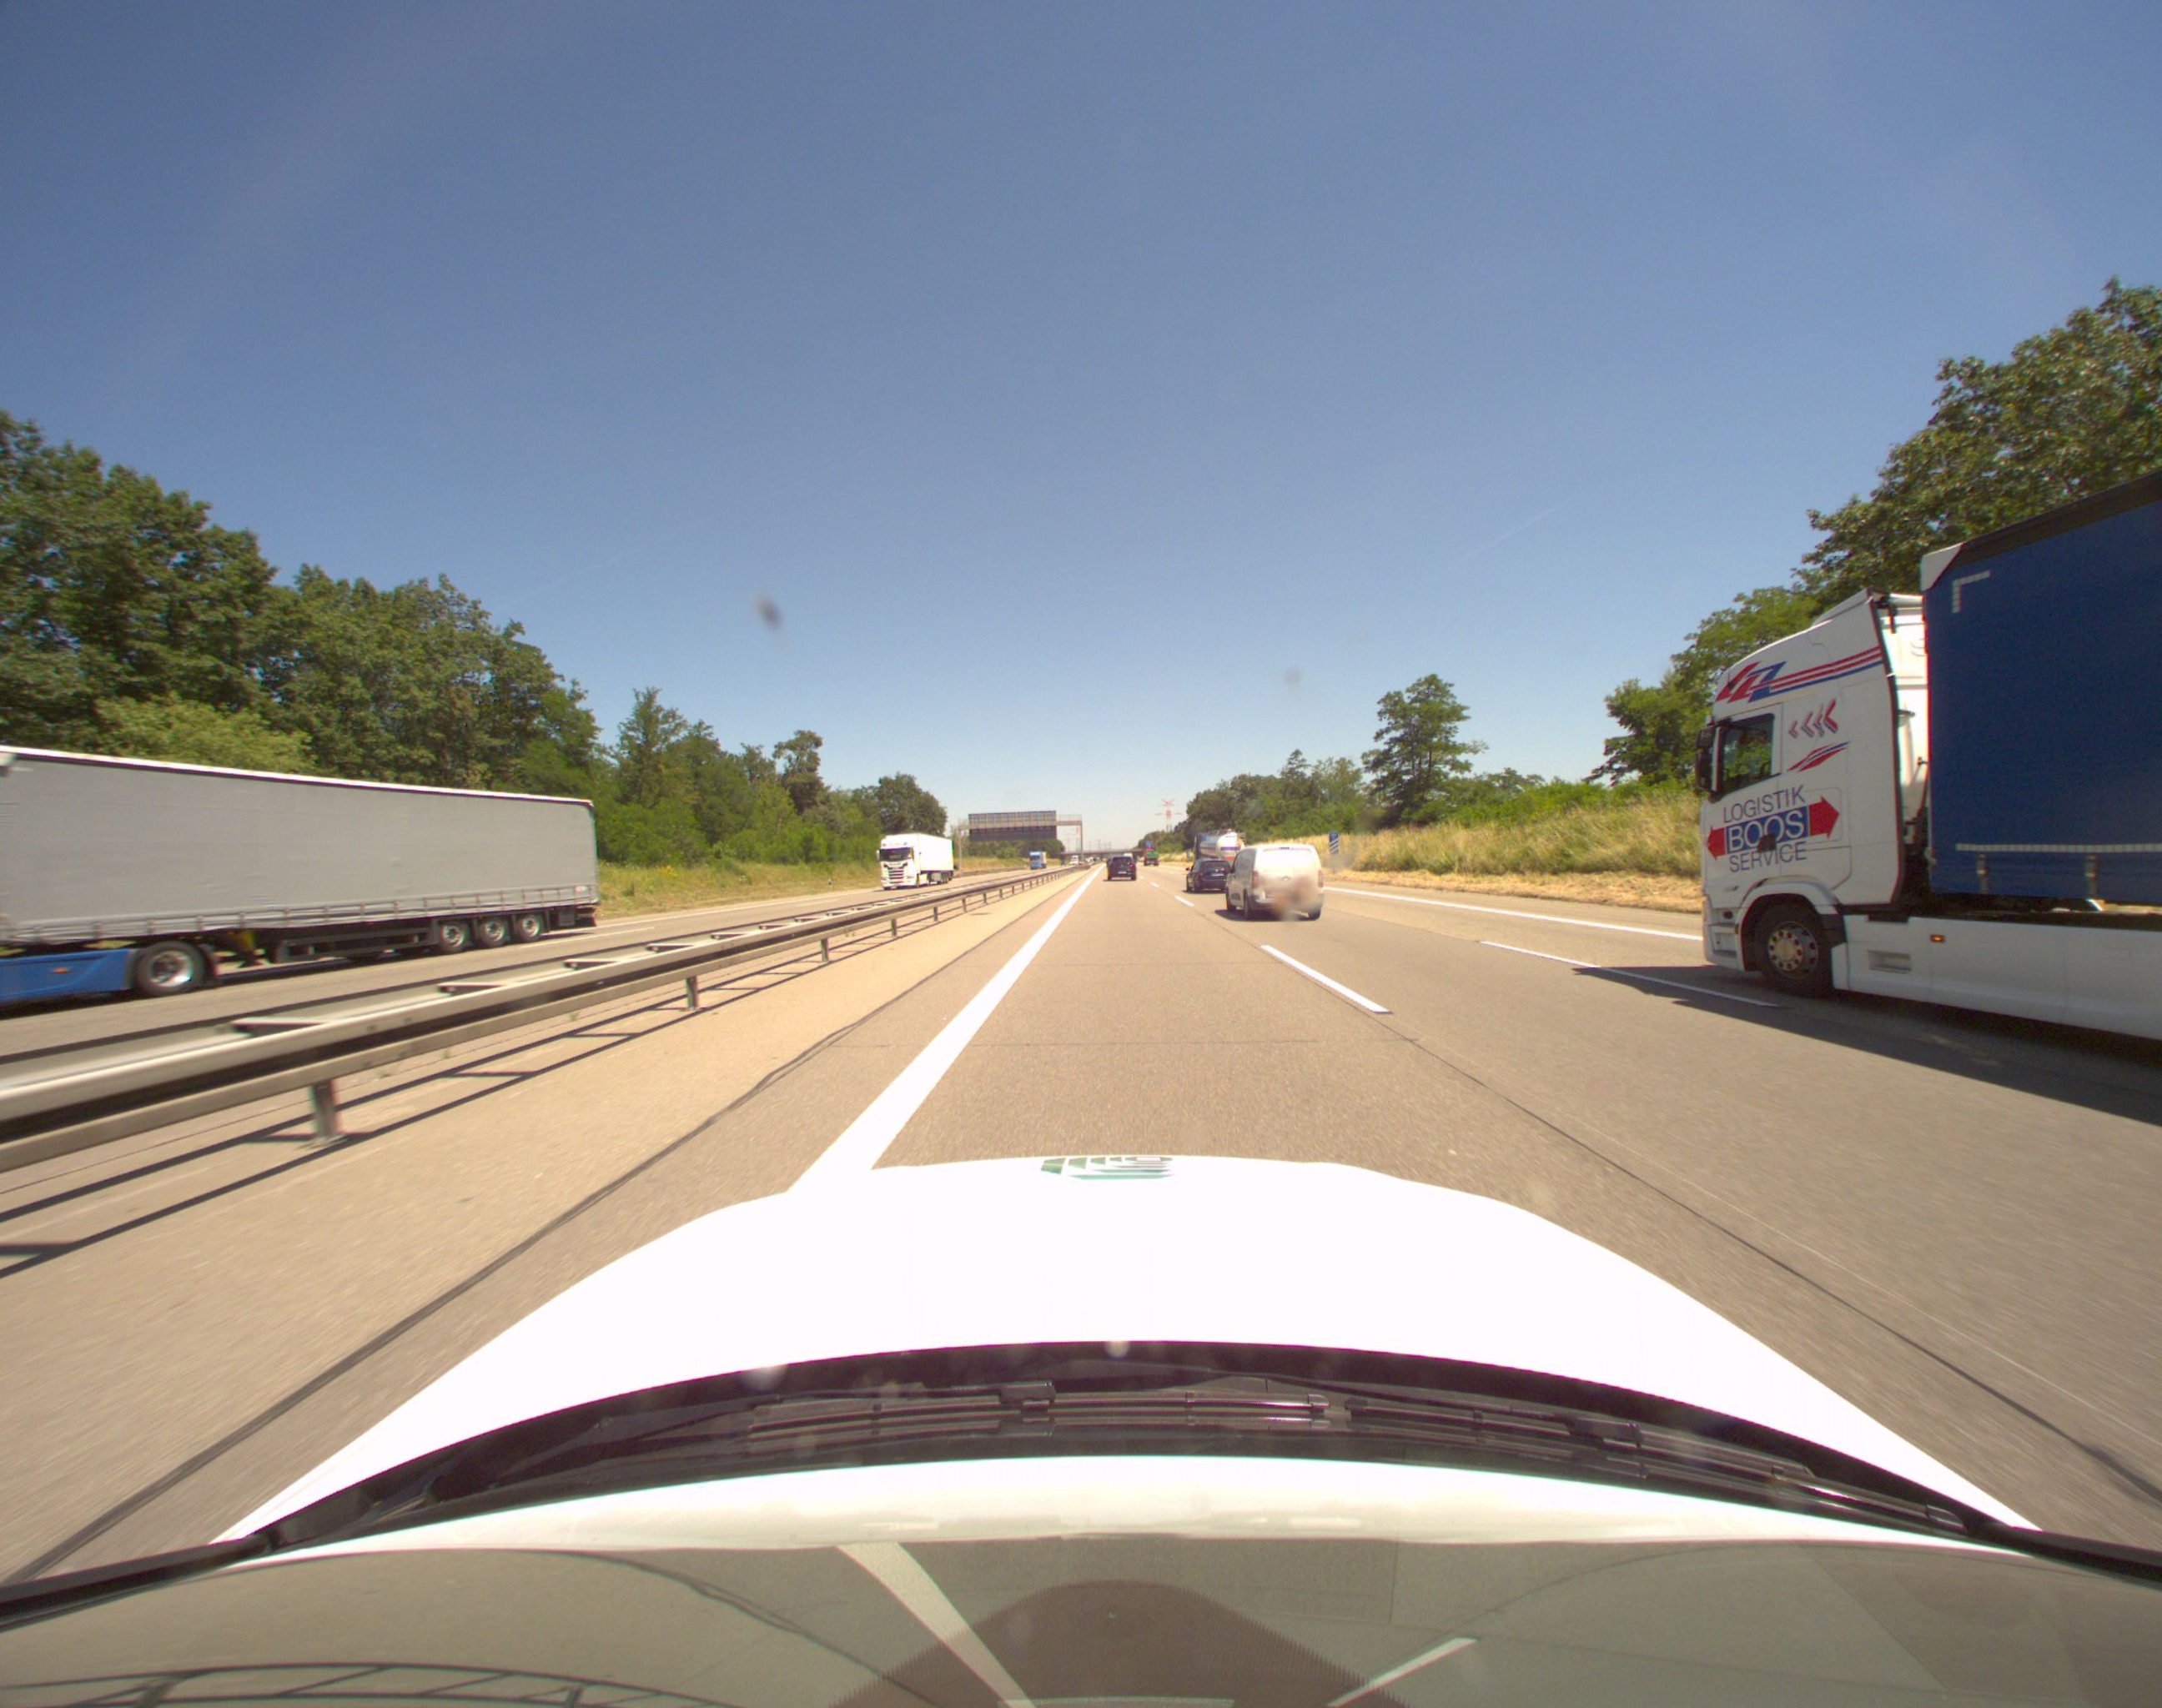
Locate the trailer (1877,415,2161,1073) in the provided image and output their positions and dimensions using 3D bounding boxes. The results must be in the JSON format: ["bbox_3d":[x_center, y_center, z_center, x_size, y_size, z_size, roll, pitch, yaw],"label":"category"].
[{"bbox_3d":[8.435,-0.741,0.317,3.274,4.219,13.569,0,0,2],"label":"trailer"}]

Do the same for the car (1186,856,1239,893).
[{"bbox_3d":[5.628,0.849,35.244,1.768,1.472,3.874,-2,0,1],"label":"car"}]

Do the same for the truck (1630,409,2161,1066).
[{"bbox_3d":[8.648,-0.739,7.459,3.274,4.219,6.009,0,0,1],"label":"truck"}]

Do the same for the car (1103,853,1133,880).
[{"bbox_3d":[2.549,0.848,57.489,1.933,1.752,5.815,-1,0,1],"label":"car"}]

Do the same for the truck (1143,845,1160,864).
[{"bbox_3d":[14.441,0.118,167.642,2.978,3.728,10.092,0,0,2],"label":"truck"}]

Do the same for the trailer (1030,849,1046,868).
[{"bbox_3d":[-10.066,1.002,191.756,2.692,4.186,10.769,-4,0,1],"label":"trailer"}]

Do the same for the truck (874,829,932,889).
[{"bbox_3d":[-13.482,0.375,62.179,2.692,4.186,6.190,-4,0,1],"label":"truck"}]

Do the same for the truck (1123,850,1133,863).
[{"bbox_3d":[10.549,0.529,184.215,2.053,2.914,7.005,-2,0,2],"label":"truck"}]

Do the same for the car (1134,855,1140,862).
[{"bbox_3d":[15.443,1.219,225.191,1.518,1.804,3.627,-2,0,1],"label":"car"}]

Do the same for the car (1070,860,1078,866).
[{"bbox_3d":[-1.868,2.283,214.385,1.920,1.348,3.566,-4,0,1],"label":"car"}]

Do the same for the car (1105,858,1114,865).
[{"bbox_3d":[5.001,1.333,144.629,1.518,1.252,3.627,-2,0,1],"label":"car"}]

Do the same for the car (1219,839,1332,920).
[{"bbox_3d":[4.895,0.600,21.255,1.808,1.827,5.112,-2,0,1],"label":"car"}]

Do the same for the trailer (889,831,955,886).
[{"bbox_3d":[-13.304,0.358,69.434,2.692,4.186,12.066,-4,0,1],"label":"trailer"}]

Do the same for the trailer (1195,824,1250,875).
[{"bbox_3d":[11.390,-0.299,66.664,2.673,3.837,12.014,0,0,2],"label":"trailer"}]

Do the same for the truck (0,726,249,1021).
[{"bbox_3d":[-16.584,0.341,11.671,2.659,4.169,6.190,-4,0,1],"label":"truck"}]

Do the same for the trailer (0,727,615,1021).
[{"bbox_3d":[-16.423,0.363,18.585,2.659,4.169,14.600,-4,0,1],"label":"trailer"}]

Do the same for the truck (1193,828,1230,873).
[{"bbox_3d":[11.566,-0.271,72.405,2.673,3.837,4.445,0,0,1],"label":"truck"}]

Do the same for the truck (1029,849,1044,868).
[{"bbox_3d":[-10.201,0.999,186.272,2.692,4.186,4.724,-4,0,1],"label":"truck"}]
